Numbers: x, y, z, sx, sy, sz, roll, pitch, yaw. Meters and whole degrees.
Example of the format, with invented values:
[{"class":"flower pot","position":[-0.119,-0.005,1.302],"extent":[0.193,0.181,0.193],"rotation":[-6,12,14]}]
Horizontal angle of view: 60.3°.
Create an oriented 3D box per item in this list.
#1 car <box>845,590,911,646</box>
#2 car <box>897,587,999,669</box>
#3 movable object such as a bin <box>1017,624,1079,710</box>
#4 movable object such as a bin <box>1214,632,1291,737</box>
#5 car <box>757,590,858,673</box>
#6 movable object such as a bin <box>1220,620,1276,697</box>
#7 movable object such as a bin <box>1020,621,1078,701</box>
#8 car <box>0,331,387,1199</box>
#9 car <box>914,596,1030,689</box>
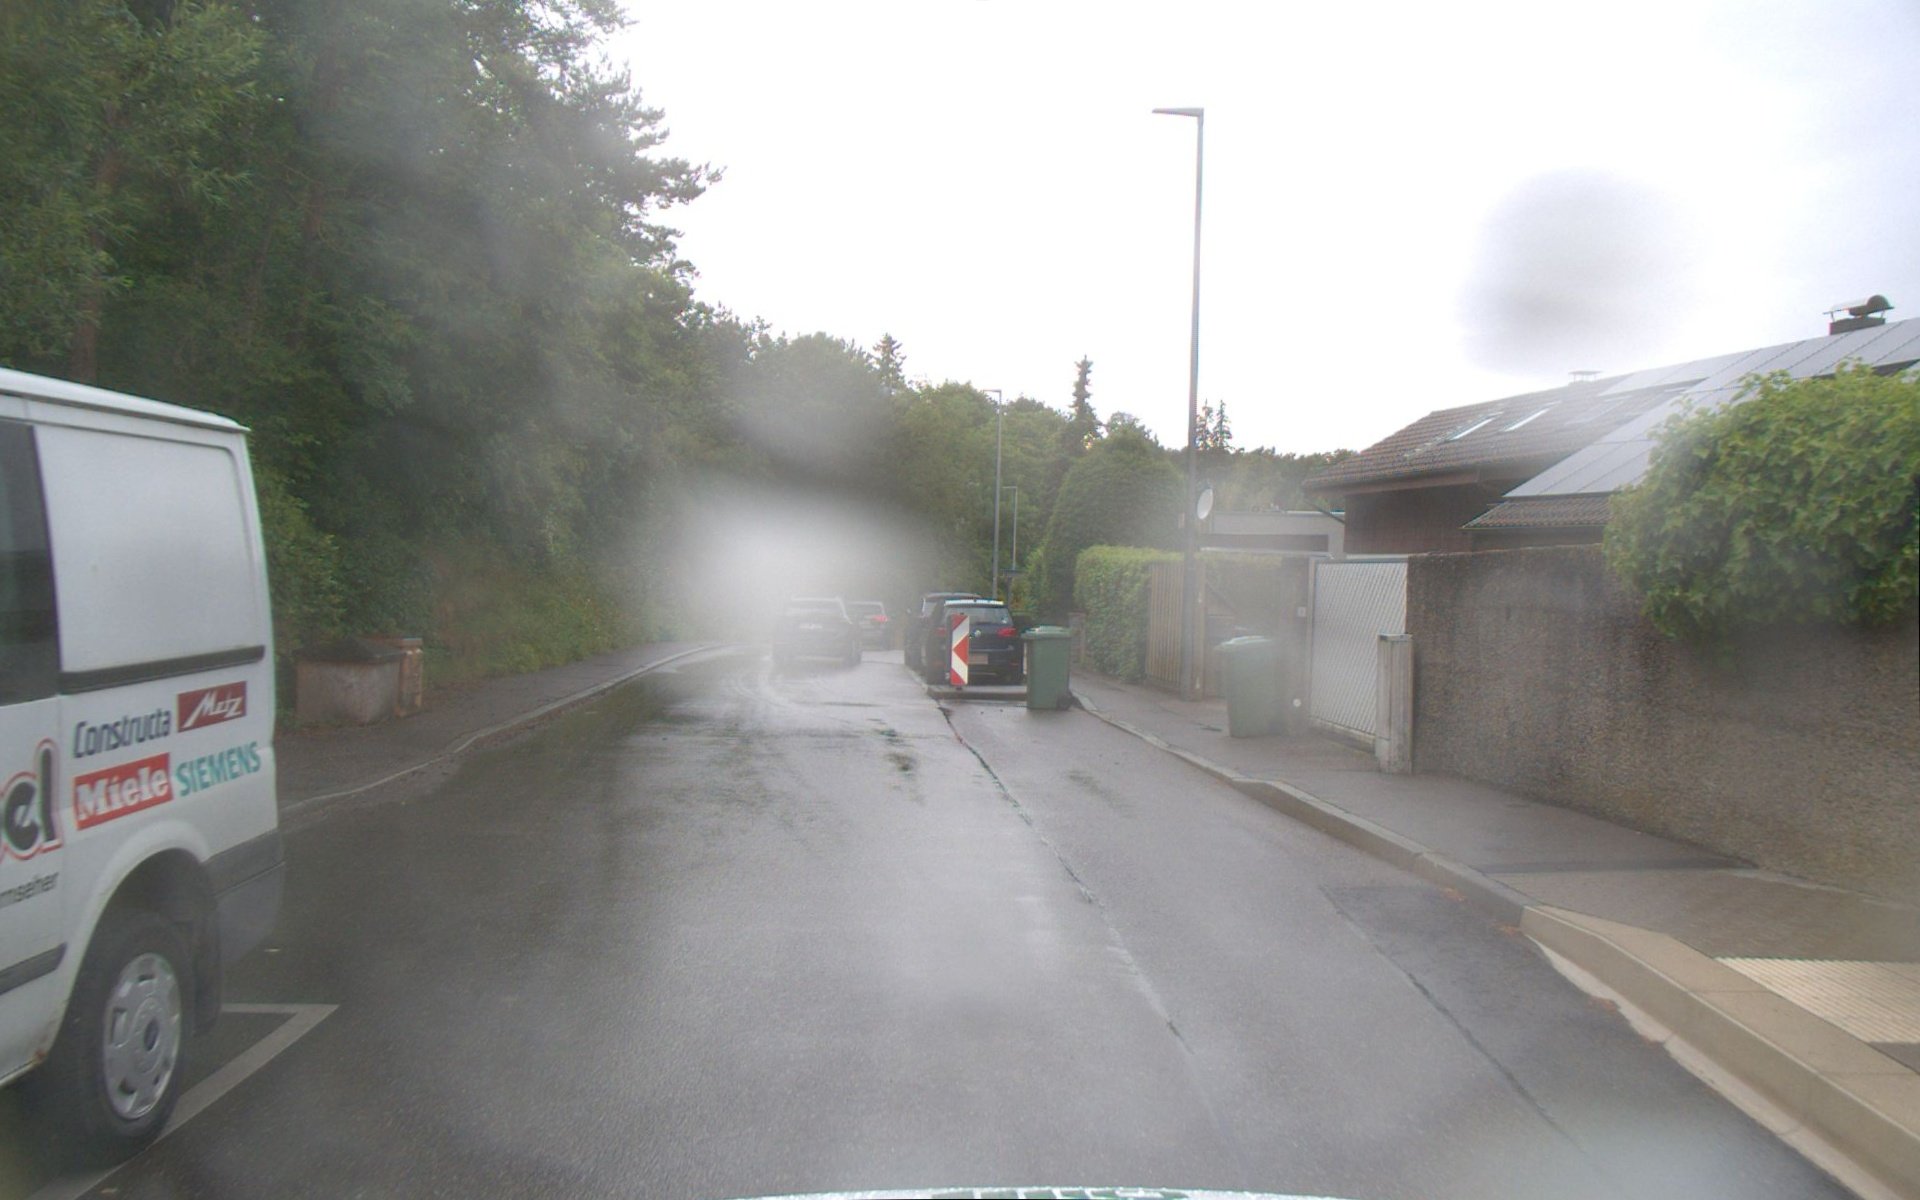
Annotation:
[{"class":"car","position":[-2.615,0.551,52.802],"extent":[1.954,1.633,4.406],"rotation":[2,0,-3]},{"class":"car","position":[-0.319,0.543,35.527],"extent":[1.838,1.619,4.475],"rotation":[1,0,-5]},{"class":"movable object such as a bin","position":[1.202,0.911,22.677],"extent":[0.702,1.114,0.655],"rotation":[2,0,-9]},{"class":"movable object such as a bin","position":[3.207,0.918,18.189],"extent":[0.724,1.107,0.600],"rotation":[-1,0,-2]},{"class":"car","position":[-3.253,0.738,35.937],"extent":[1.831,1.539,4.090],"rotation":[3,-4,-1]},{"class":"movable object such as a bin","position":[4.496,0.911,25.798],"extent":[0.732,1.123,0.820],"rotation":[4,-1,15]},{"class":"movable object such as a bin","position":[1.279,0.870,23.834],"extent":[0.715,1.097,0.660],"rotation":[2,0,-6]},{"class":"car","position":[-2.970,0.449,3.054],"extent":[2.068,2.009,5.172],"rotation":[1,0,-1]},{"class":"car","position":[0.153,0.720,30.228],"extent":[1.721,1.487,4.297],"rotation":[2,0,-4]}]
